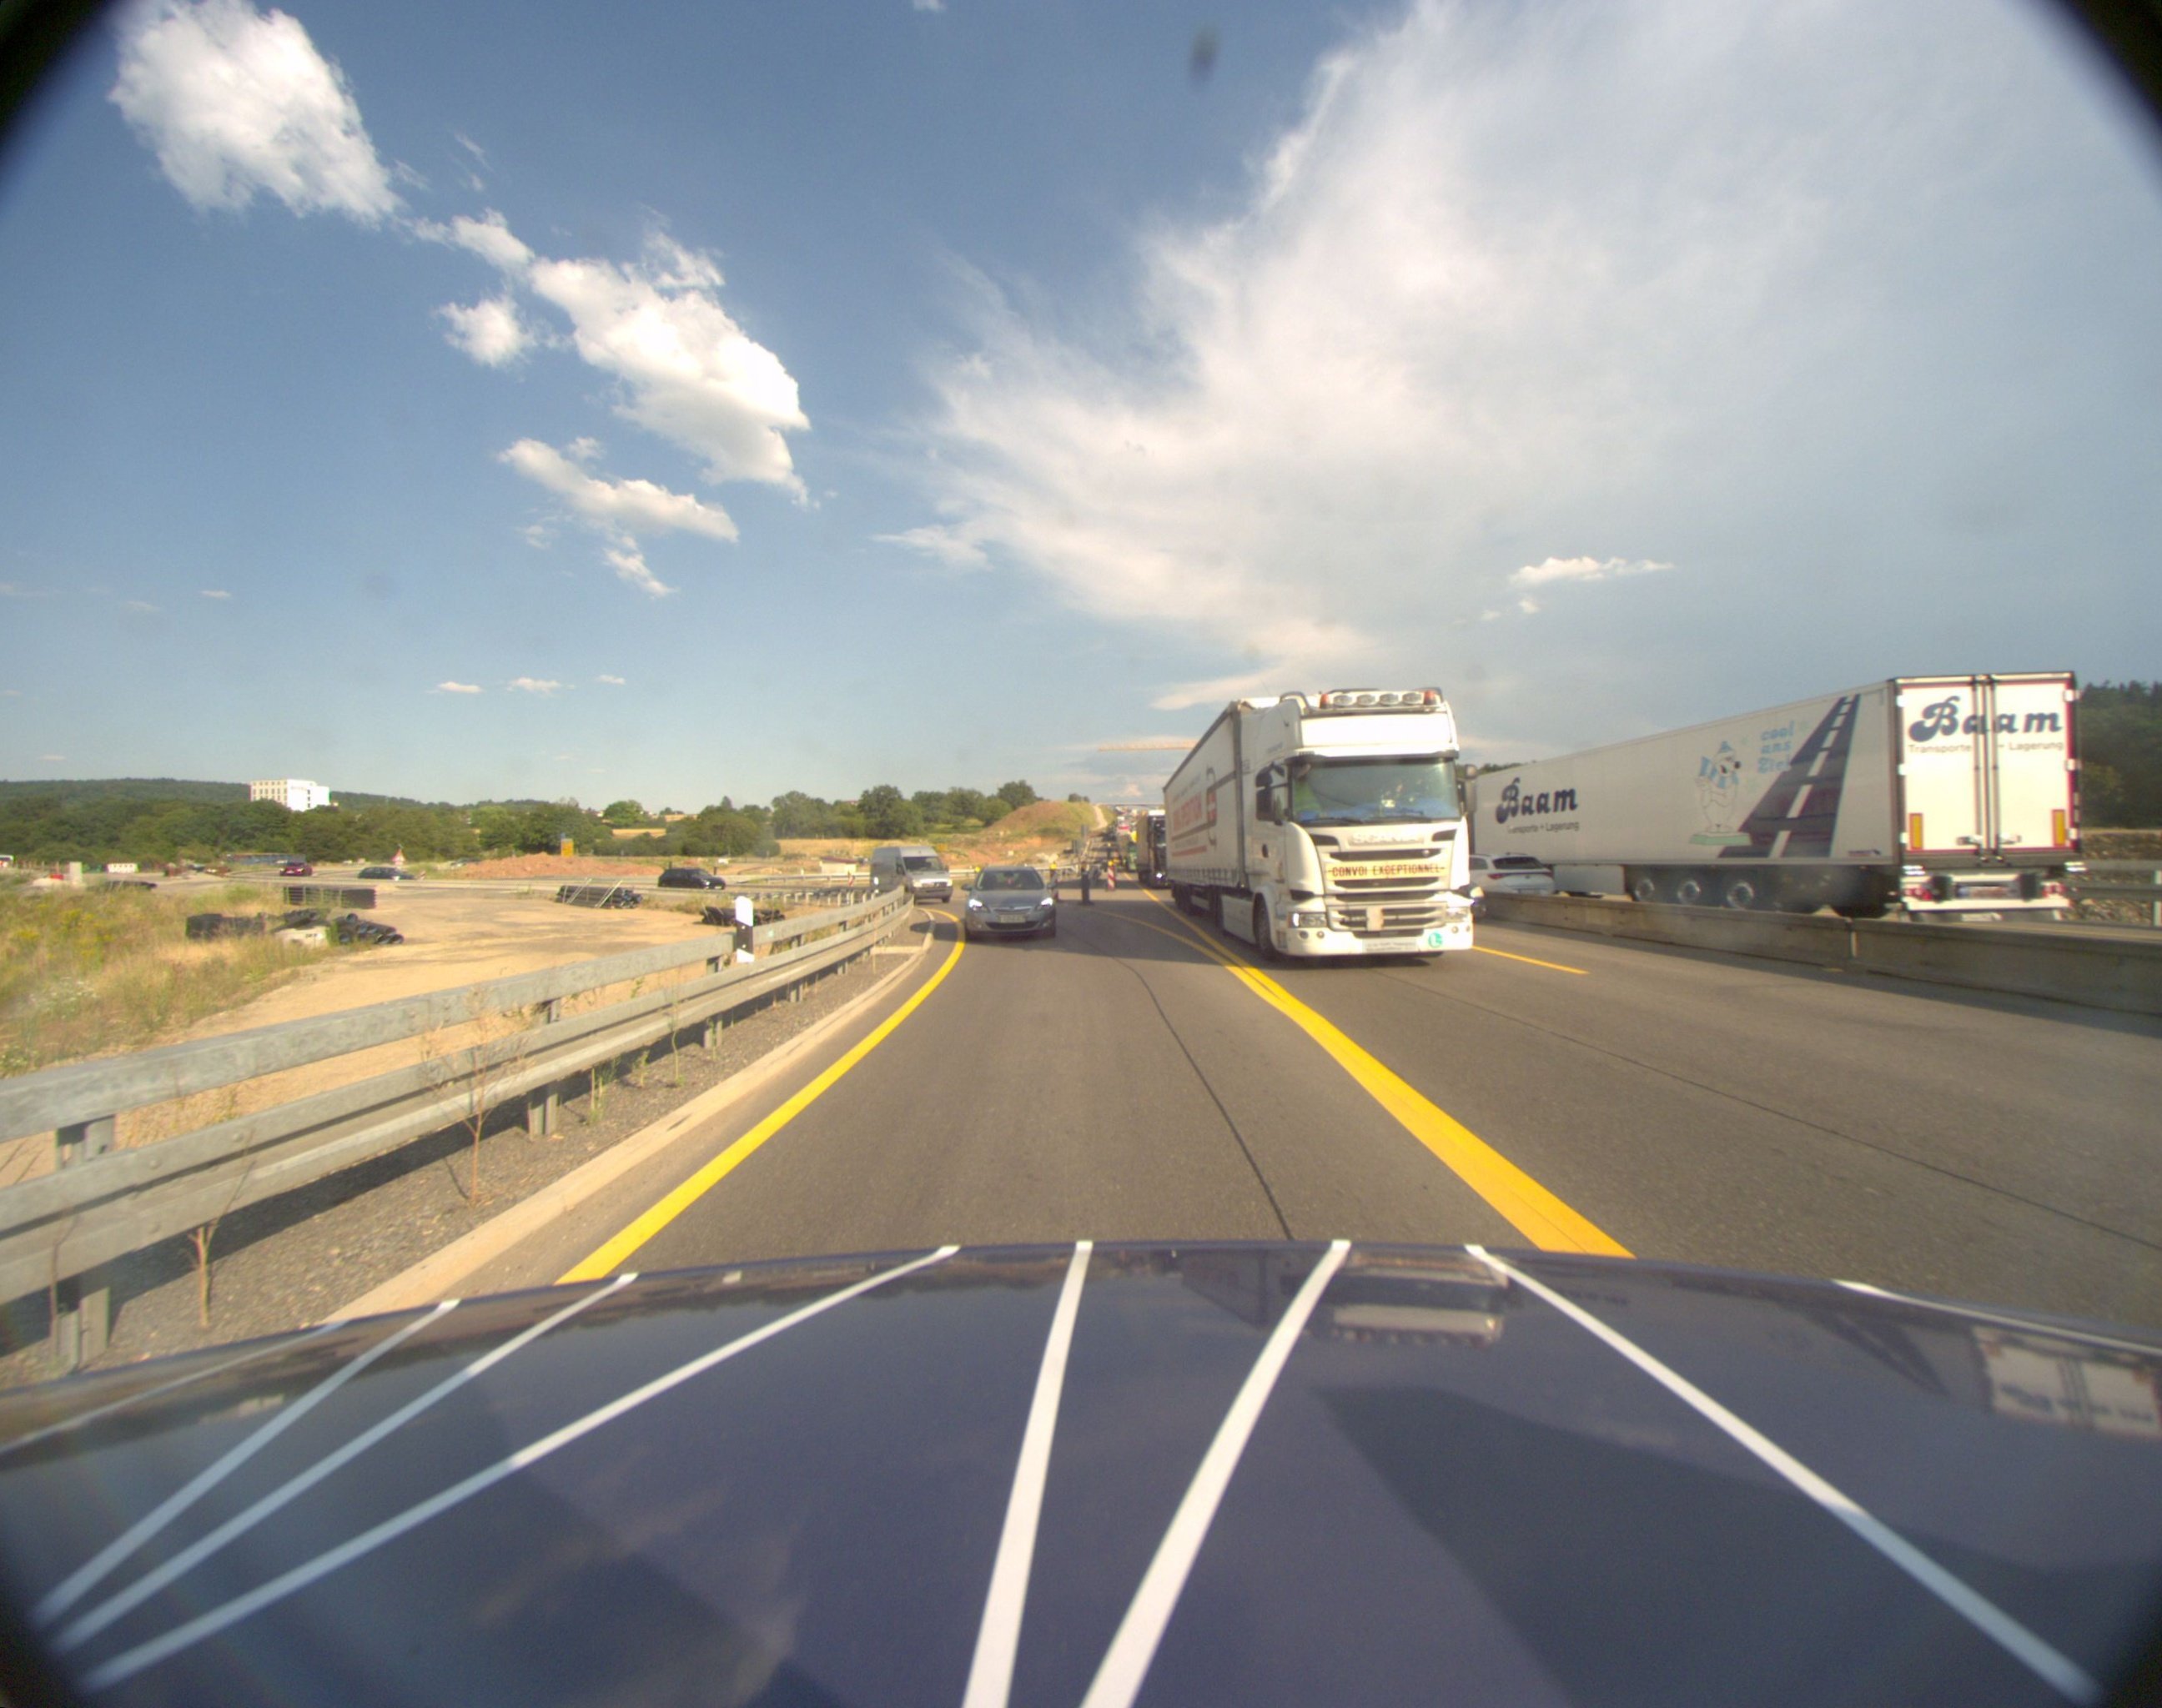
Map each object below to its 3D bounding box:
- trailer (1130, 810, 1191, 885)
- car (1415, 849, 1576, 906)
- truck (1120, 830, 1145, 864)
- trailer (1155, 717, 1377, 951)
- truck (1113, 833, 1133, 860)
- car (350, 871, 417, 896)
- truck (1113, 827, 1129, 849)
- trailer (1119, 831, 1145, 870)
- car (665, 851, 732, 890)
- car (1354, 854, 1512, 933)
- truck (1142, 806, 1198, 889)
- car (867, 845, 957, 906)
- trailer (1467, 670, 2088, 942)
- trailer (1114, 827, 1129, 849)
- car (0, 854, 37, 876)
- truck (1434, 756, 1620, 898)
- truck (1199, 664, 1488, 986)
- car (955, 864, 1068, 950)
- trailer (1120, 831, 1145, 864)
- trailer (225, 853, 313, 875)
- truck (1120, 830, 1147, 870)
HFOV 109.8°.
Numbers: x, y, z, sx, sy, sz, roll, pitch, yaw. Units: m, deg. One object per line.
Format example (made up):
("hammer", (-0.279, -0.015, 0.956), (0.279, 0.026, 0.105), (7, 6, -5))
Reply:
("trailer", (4.724, -0.423, 47.751), (2.486, 4.038, 13.629), (-1, 1, 1))
("car", (10.930, 0.550, 20.472), (1.912, 1.357, 4.452), (1, 1, 0))
("truck", (6.721, -0.899, 99.268), (3.110, 4.289, 6.897), (1, 1, 3))
("trailer", (3.743, -0.396, 19.437), (2.486, 3.856, 13.629), (-1, 1, 1))
("truck", (6.857, -1.252, 122.997), (3.110, 4.289, 6.897), (1, 1, 3))
("car", (-53.287, 2.213, 58.063), (4.120, 1.776, 1.639), (1, 1, 12))
("truck", (8.222, -3.235, 154.912), (3.110, 4.289, 6.897), (1, 1, 3))
("trailer", (5.509, -0.458, 84.102), (2.486, 3.936, 13.977), (-1, 1, 3))
("car", (-25.052, 1.032, 49.760), (3.989, 2.389, 1.880), (1, 1, 27))
("car", (7.579, 0.768, 16.800), (1.825, 1.476, 3.920), (-1, 1, 3))
("truck", (4.594, -0.358, 40.163), (2.486, 4.037, 6.012), (-1, 1, 3))
("car", (-7.693, 0.869, 34.081), (1.921, 2.486, 5.782), (0, 1, -34))
("trailer", (13.931, -0.786, 18.377), (2.633, 4.043, 14.081), (1, 1, 3))
("trailer", (8.645, -3.333, 162.411), (3.110, 4.289, 14.253), (1, 1, 3))
("car", (-109.366, 1.117, 75.972), (2.482, 2.067, 5.325), (1, 1, 14))
("truck", (14.222, -0.806, 24.886), (2.633, 4.043, 6.130), (1, 1, 3))
("truck", (3.654, -0.379, 12.206), (2.487, 3.856, 6.010), (-1, 1, -1))
("car", (-1.317, 1.009, 16.119), (1.747, 1.476, 4.252), (-2, 0, 3))
("trailer", (6.976, -0.928, 104.855), (3.110, 4.289, 14.253), (1, 1, 3))
("trailer", (-95.657, 1.114, 89.719), (3.013, 2.400, 7.223), (0, 1, -6))
("truck", (5.262, -0.377, 77.232), (2.486, 3.879, 6.012), (-1, 1, 3))
